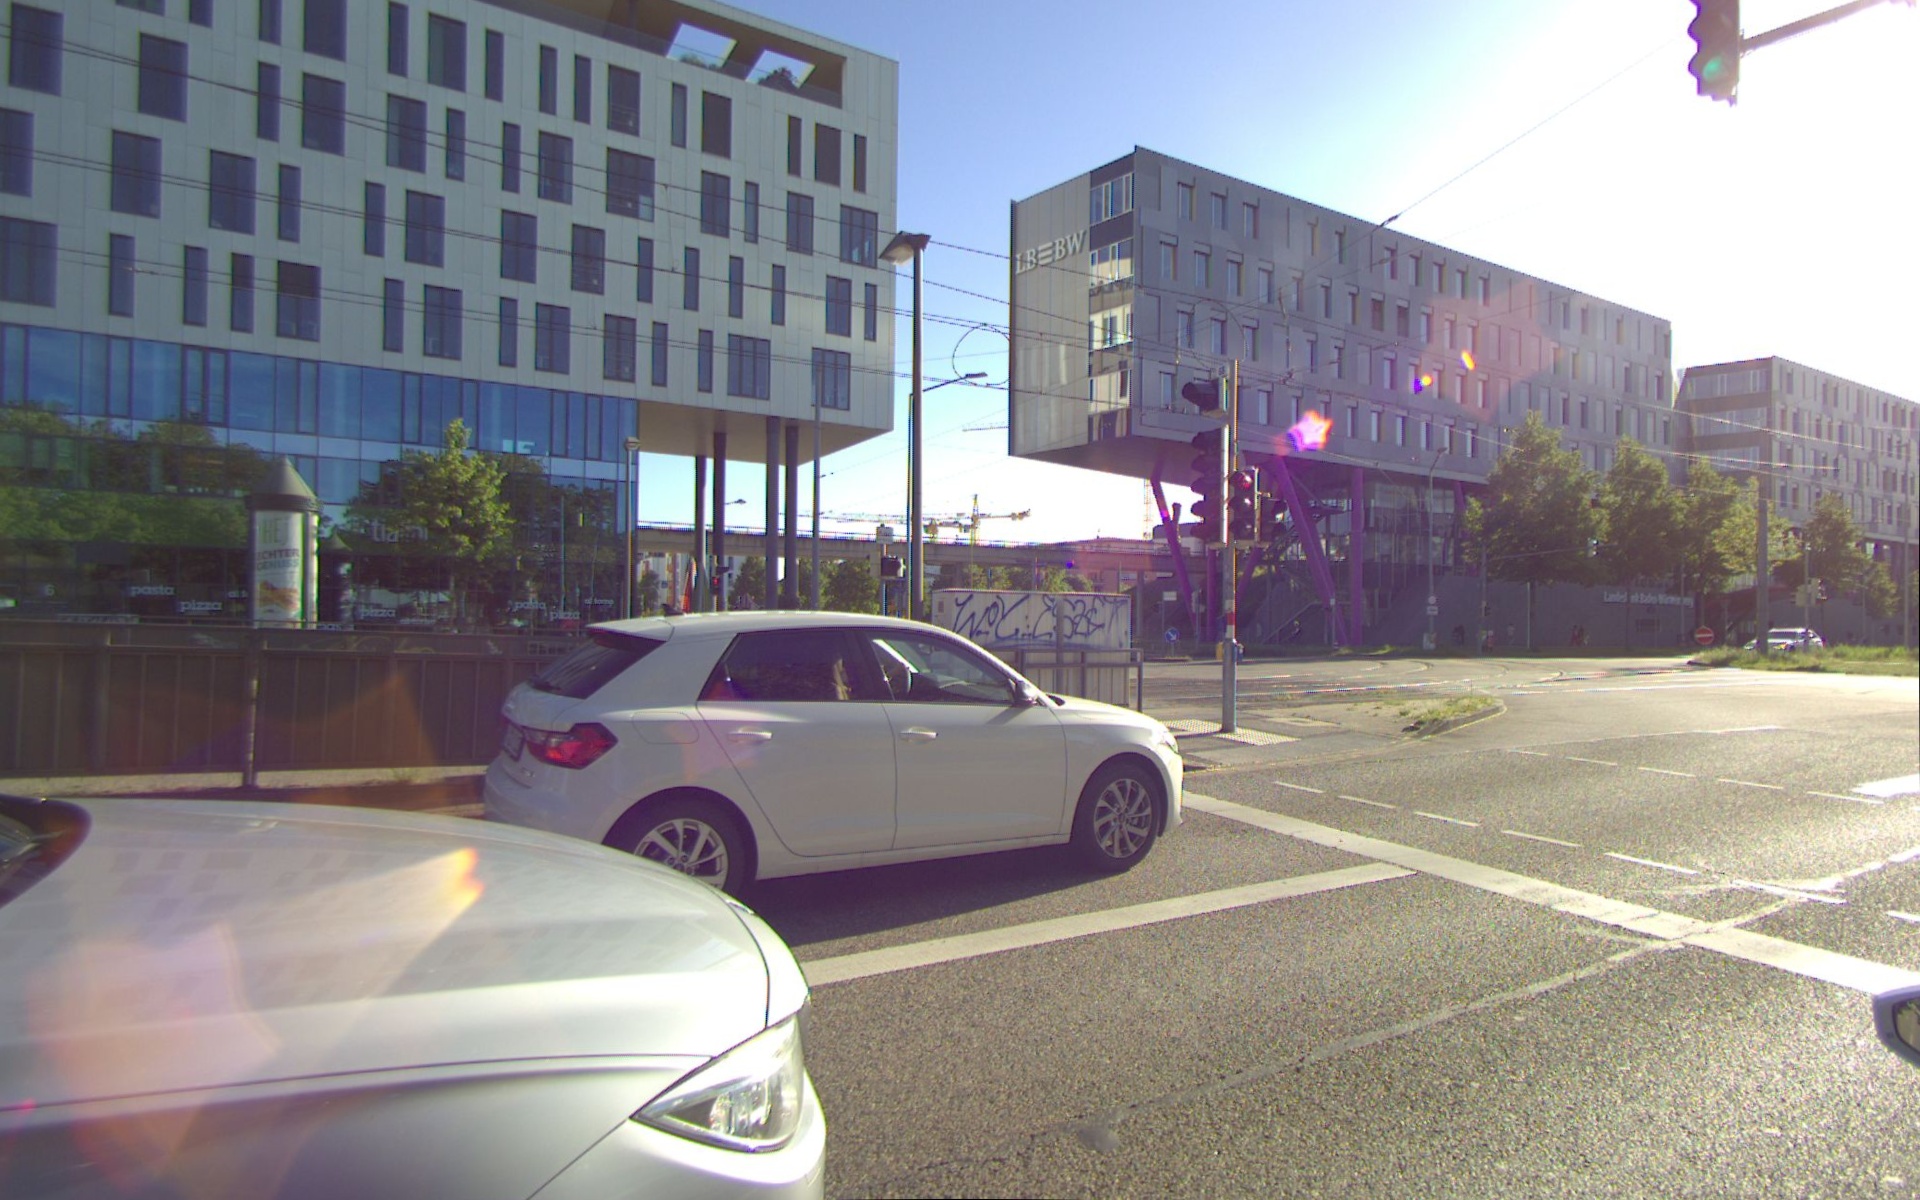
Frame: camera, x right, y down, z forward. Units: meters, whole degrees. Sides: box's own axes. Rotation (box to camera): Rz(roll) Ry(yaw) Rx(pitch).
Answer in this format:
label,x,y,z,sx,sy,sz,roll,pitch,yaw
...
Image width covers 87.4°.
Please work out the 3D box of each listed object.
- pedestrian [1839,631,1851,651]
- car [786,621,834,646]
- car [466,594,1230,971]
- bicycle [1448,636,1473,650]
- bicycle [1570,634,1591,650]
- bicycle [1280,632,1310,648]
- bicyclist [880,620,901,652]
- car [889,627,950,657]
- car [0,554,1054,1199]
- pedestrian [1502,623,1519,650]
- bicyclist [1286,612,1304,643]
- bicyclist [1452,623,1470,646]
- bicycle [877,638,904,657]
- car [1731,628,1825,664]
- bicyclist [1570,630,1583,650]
label,x,y,z,sx,sy,sz,roll,pitch,yaw
pedestrian,91.786,4.226,104.142,0.681,2.040,0.733,1,-1,-29
car,-9.778,2.153,65.094,1.974,1.586,3.974,1,-1,-26
car,-0.502,0.752,5.676,3.962,1.445,1.662,1,0,-32
bicycle,32.056,2.740,64.347,1.671,0.874,0.573,1,-1,-29
bicycle,47.832,3.225,77.420,1.952,1.188,0.517,1,-1,-30
bicycle,19.130,2.287,57.305,1.811,0.874,0.525,1,-1,-29
bicyclist,-3.576,1.857,51.676,0.741,1.604,0.950,1,-1,-28
car,-2.289,2.292,55.926,1.974,1.586,3.974,1,-1,-26
car,-2.369,0.687,1.132,4.857,1.547,1.788,1,0,-33
pedestrian,39.258,2.595,71.615,0.861,1.846,0.717,1,-1,-29
bicyclist,19.125,1.573,57.307,0.827,1.749,0.527,1,-1,-29
bicyclist,32.100,2.193,64.373,0.947,1.454,0.568,1,-1,-29
bicycle,-3.609,2.439,51.727,0.739,0.874,1.818,1,-1,-27
car,38.652,2.149,47.435,4.816,1.583,1.983,1,-1,-32
bicyclist,47.693,3.064,77.682,0.754,1.515,0.556,1,-1,-30
